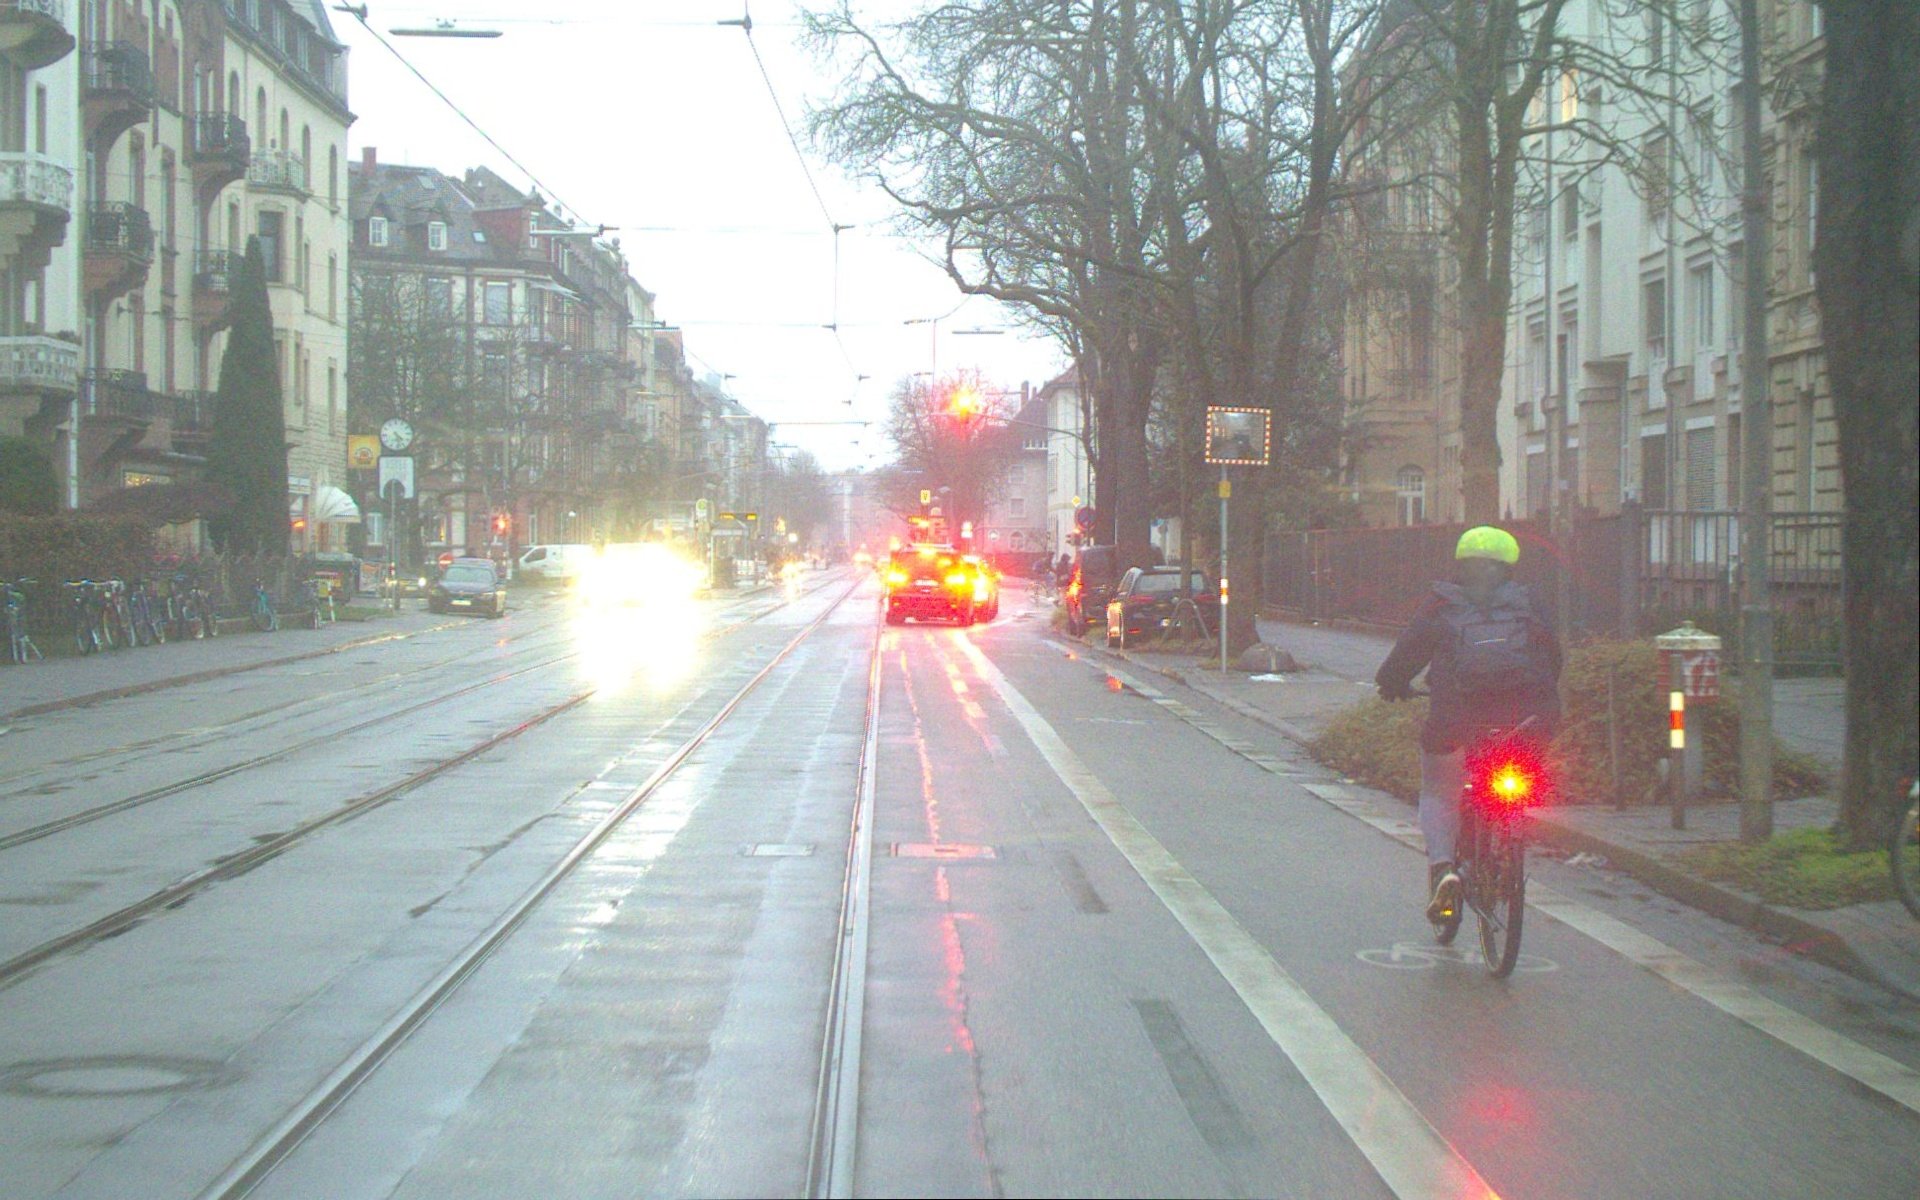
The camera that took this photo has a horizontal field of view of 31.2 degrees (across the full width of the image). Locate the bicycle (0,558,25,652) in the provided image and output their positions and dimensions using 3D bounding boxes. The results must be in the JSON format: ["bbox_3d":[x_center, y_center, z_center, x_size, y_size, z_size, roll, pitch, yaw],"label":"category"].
[{"bbox_3d":[-13.711,0.080,47.212,1.590,1.259,0.489,-1,-4,3],"label":"bicycle"}]

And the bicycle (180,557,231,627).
[{"bbox_3d":[-12.306,-0.140,56.101,0.486,1.096,1.931,-1,1,-3],"label":"bicycle"}]

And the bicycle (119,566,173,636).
[{"bbox_3d":[-12.202,0.027,51.546,0.692,1.027,1.597,-1,0,-10],"label":"bicycle"}]

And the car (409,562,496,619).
[{"bbox_3d":[-13.755,-0.281,93.310,1.833,1.442,4.001,0,2,-1],"label":"car"}]

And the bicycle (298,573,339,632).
[{"bbox_3d":[-12.472,0.040,66.869,0.614,1.077,1.811,0,1,-6],"label":"bicycle"}]

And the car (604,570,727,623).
[{"bbox_3d":[-9.962,-0.135,116.432,3.987,1.722,1.740,0,1,1],"label":"car"}]

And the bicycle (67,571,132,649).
[{"bbox_3d":[-11.937,0.132,47.708,0.692,1.027,1.595,-1,2,-8],"label":"bicycle"}]

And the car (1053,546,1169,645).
[{"bbox_3d":[3.061,-0.130,70.639,1.993,1.894,5.028,0,2,-2],"label":"car"}]

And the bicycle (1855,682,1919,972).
[{"bbox_3d":[4.421,0.863,13.349,1.713,1.067,0.663,0,1,-1],"label":"bicycle"}]

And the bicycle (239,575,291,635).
[{"bbox_3d":[-12.353,0.076,61.161,0.625,1.014,1.806,-1,1,-3],"label":"bicycle"}]

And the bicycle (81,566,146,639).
[{"bbox_3d":[-12.194,0.030,49.552,0.692,1.027,1.597,-1,0,-6],"label":"bicycle"}]

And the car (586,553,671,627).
[{"bbox_3d":[-9.129,-0.294,94.938,2.046,1.915,5.100,0,2,-2],"label":"car"}]

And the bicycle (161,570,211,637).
[{"bbox_3d":[-12.203,0.050,54.245,0.692,1.027,1.597,-1,0,-10],"label":"bicycle"}]

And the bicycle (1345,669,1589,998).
[{"bbox_3d":[1.945,0.867,13.438,0.707,1.093,2.029,0,1,2],"label":"bicycle"}]

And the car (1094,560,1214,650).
[{"bbox_3d":[3.300,0.053,59.042,1.677,1.455,4.043,0,1,-2],"label":"car"}]

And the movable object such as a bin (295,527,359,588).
[{"bbox_3d":[-16.164,-1.091,87.852,1.409,1.525,1.365,0,1,-1],"label":"movable object such as a bin"}]

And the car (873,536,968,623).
[{"bbox_3d":[-0.929,-0.450,78.351,1.993,1.890,4.759,1,0,-2],"label":"car"}]

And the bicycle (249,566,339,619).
[{"bbox_3d":[-13.998,-0.160,72.292,1.804,1.077,0.616,-1,1,-8],"label":"bicycle"}]

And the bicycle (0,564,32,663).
[{"bbox_3d":[-12.165,0.163,43.467,0.692,1.208,1.597,-1,1,-10],"label":"bicycle"}]

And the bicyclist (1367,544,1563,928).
[{"bbox_3d":[1.954,0.507,13.383,0.656,1.441,0.849,0,1,2],"label":"bicyclist"}]
